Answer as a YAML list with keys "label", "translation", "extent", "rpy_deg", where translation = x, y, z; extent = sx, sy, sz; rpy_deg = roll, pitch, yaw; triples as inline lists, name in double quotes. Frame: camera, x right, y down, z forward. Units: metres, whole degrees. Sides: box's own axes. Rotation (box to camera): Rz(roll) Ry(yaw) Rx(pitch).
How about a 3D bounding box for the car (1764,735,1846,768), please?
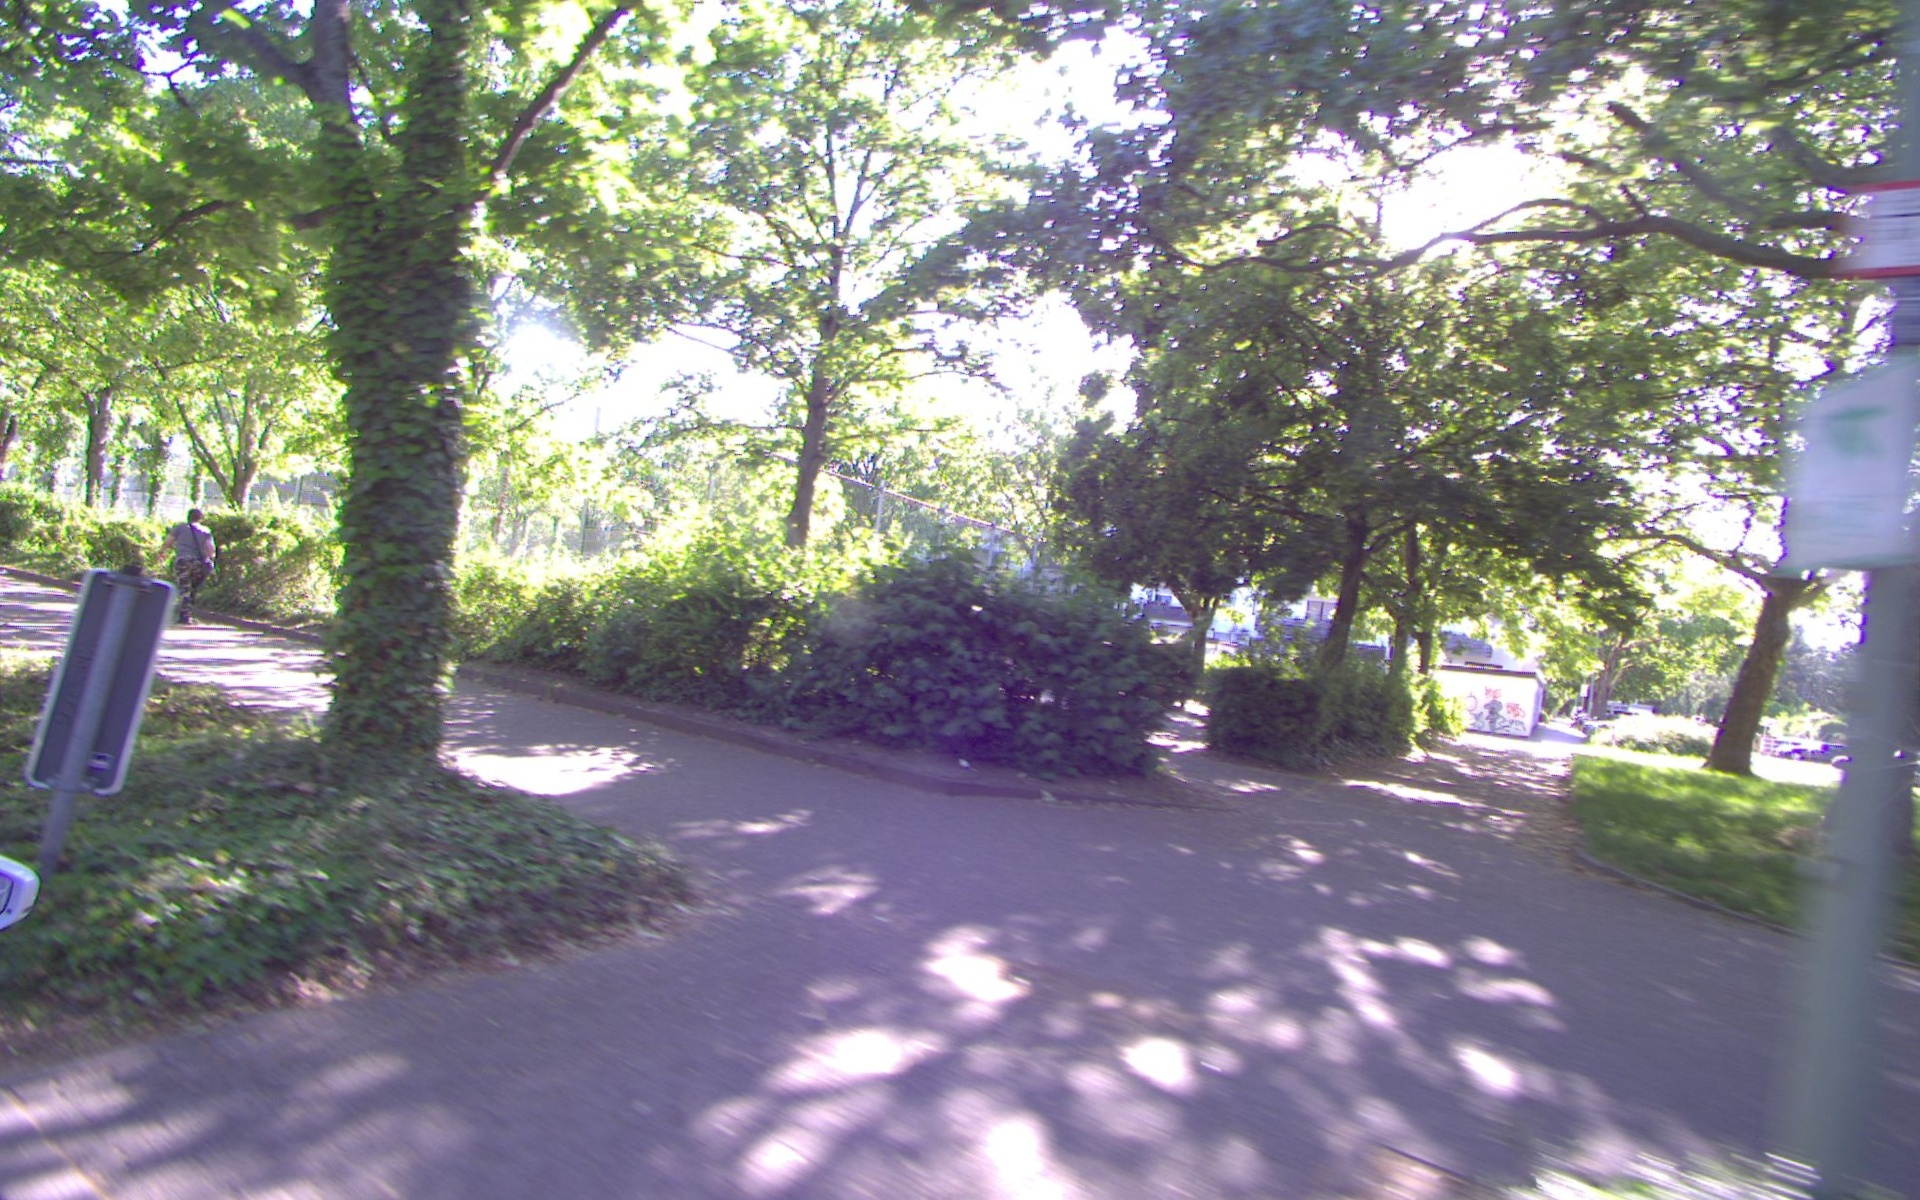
- label: "car"
  translation: [57.612, 10.322, 68.673]
  extent: [3.937, 1.544, 1.998]
  rpy_deg: [6, -4, 34]

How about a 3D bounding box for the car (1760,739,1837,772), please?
- label: "car"
  translation: [59.847, 11.086, 71.893]
  extent: [3.937, 1.640, 1.998]
  rpy_deg: [6, -4, 34]

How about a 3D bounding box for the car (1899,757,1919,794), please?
- label: "car"
  translation: [39.499, 7.136, 39.046]
  extent: [4.085, 1.381, 1.748]
  rpy_deg: [6, -4, 30]

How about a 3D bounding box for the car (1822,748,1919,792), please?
- label: "car"
  translation: [47.948, 8.891, 52.676]
  extent: [3.937, 1.640, 1.998]
  rpy_deg: [6, -4, 34]

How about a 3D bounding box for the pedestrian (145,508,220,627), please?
- label: "pedestrian"
  translation: [-11.247, -0.473, 14.551]
  extent: [0.662, 1.627, 0.571]
  rpy_deg: [6, -1, 41]

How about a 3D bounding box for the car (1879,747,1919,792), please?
- label: "car"
  translation: [40.899, 7.230, 41.421]
  extent: [4.085, 1.704, 1.748]
  rpy_deg: [6, -4, 30]

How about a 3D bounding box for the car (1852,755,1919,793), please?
- label: "car"
  translation: [44.632, 8.279, 46.948]
  extent: [4.085, 1.381, 1.748]
  rpy_deg: [6, -4, 30]
